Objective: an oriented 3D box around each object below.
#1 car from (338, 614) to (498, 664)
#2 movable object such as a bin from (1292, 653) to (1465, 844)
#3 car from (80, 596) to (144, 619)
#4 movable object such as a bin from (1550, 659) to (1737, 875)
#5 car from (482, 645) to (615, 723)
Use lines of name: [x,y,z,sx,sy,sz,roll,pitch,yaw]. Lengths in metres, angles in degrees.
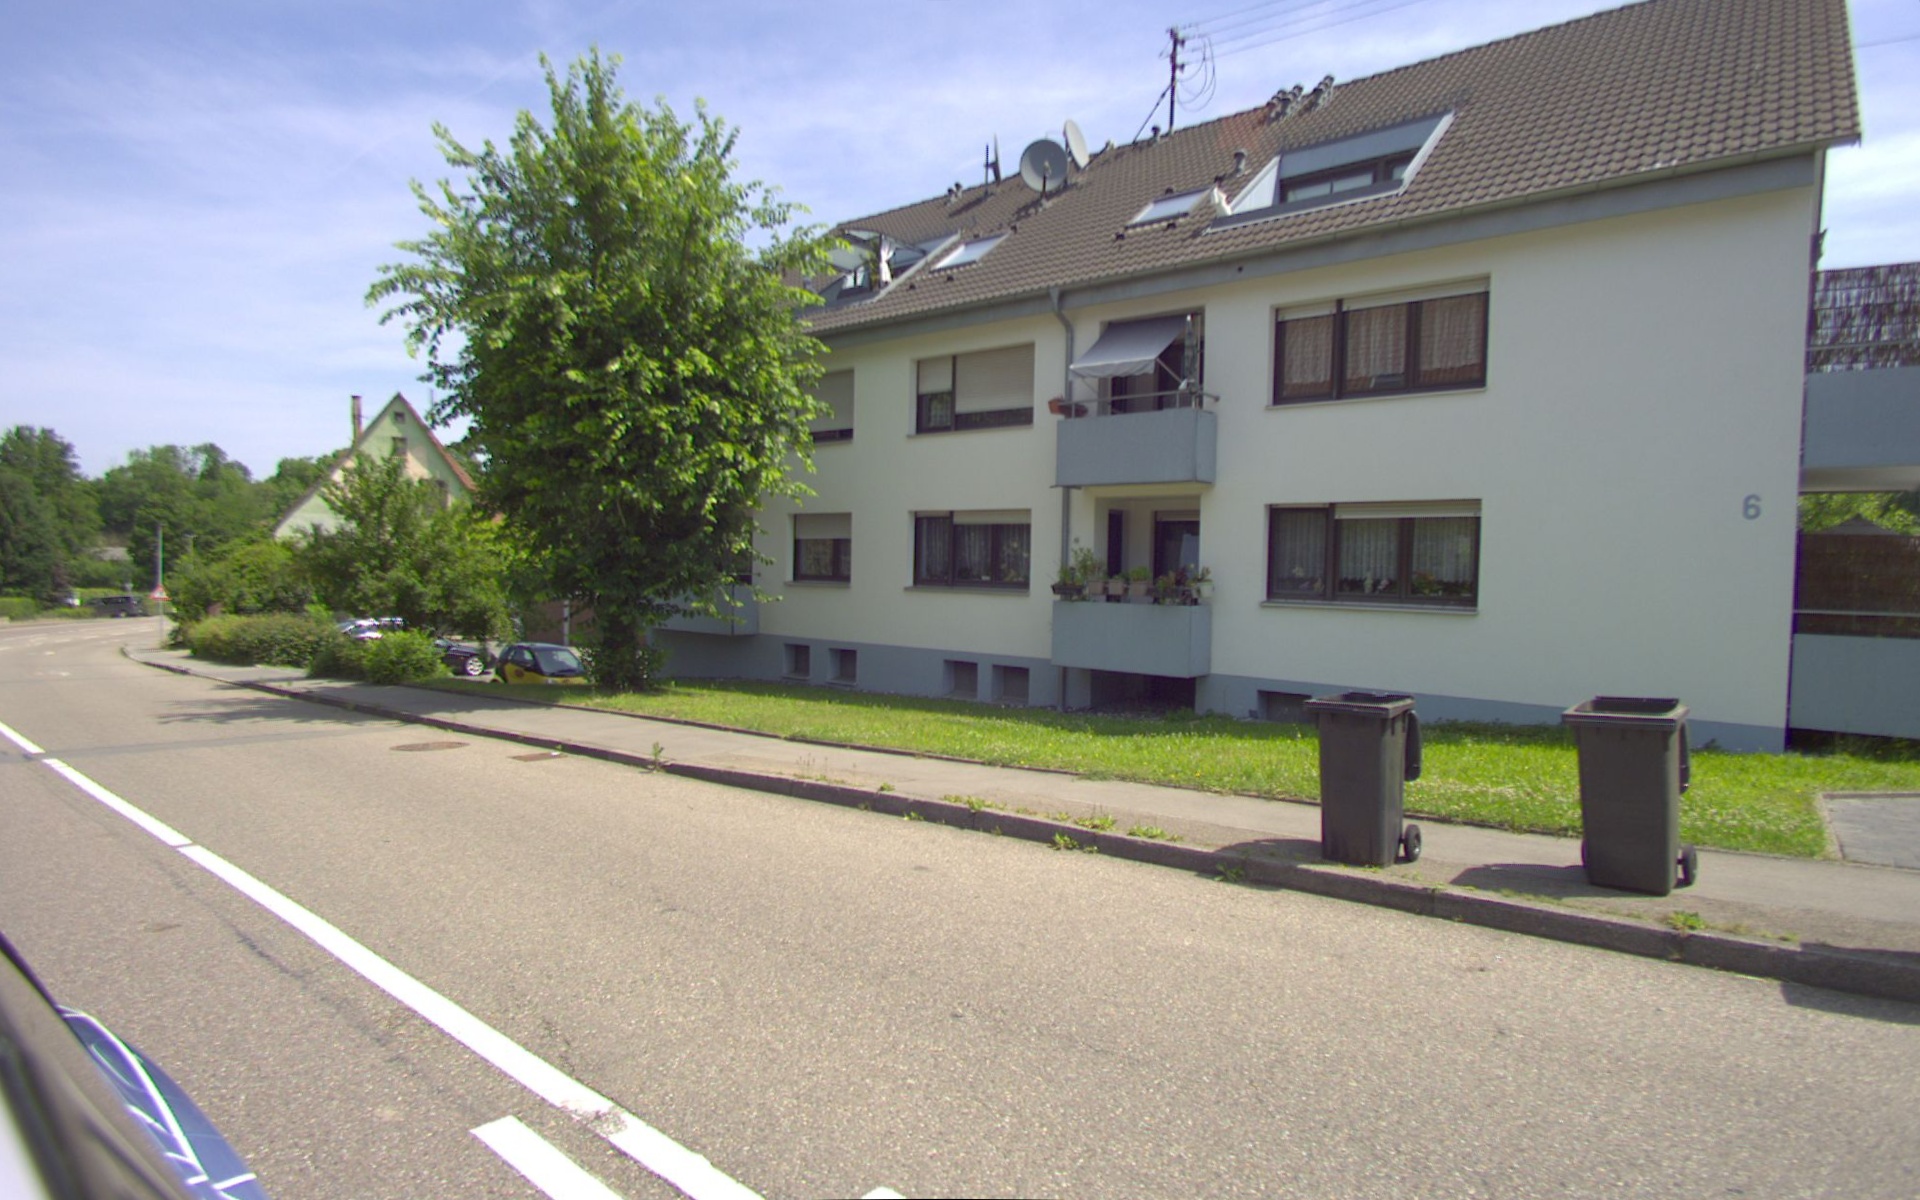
car: [-16.428,1.195,30.804,1.645,1.256,3.915,0,-5,41]
movable object such as a bin: [2.305,0.775,5.590,0.612,0.924,0.687,1,-1,-42]
car: [-74.466,0.629,88.959,3.844,1.964,1.961,0,0,-16]
movable object such as a bin: [3.340,0.771,4.952,0.556,0.924,0.643,1,-1,-42]
car: [-10.076,2.001,24.709,3.226,1.551,1.458,3,1,35]
